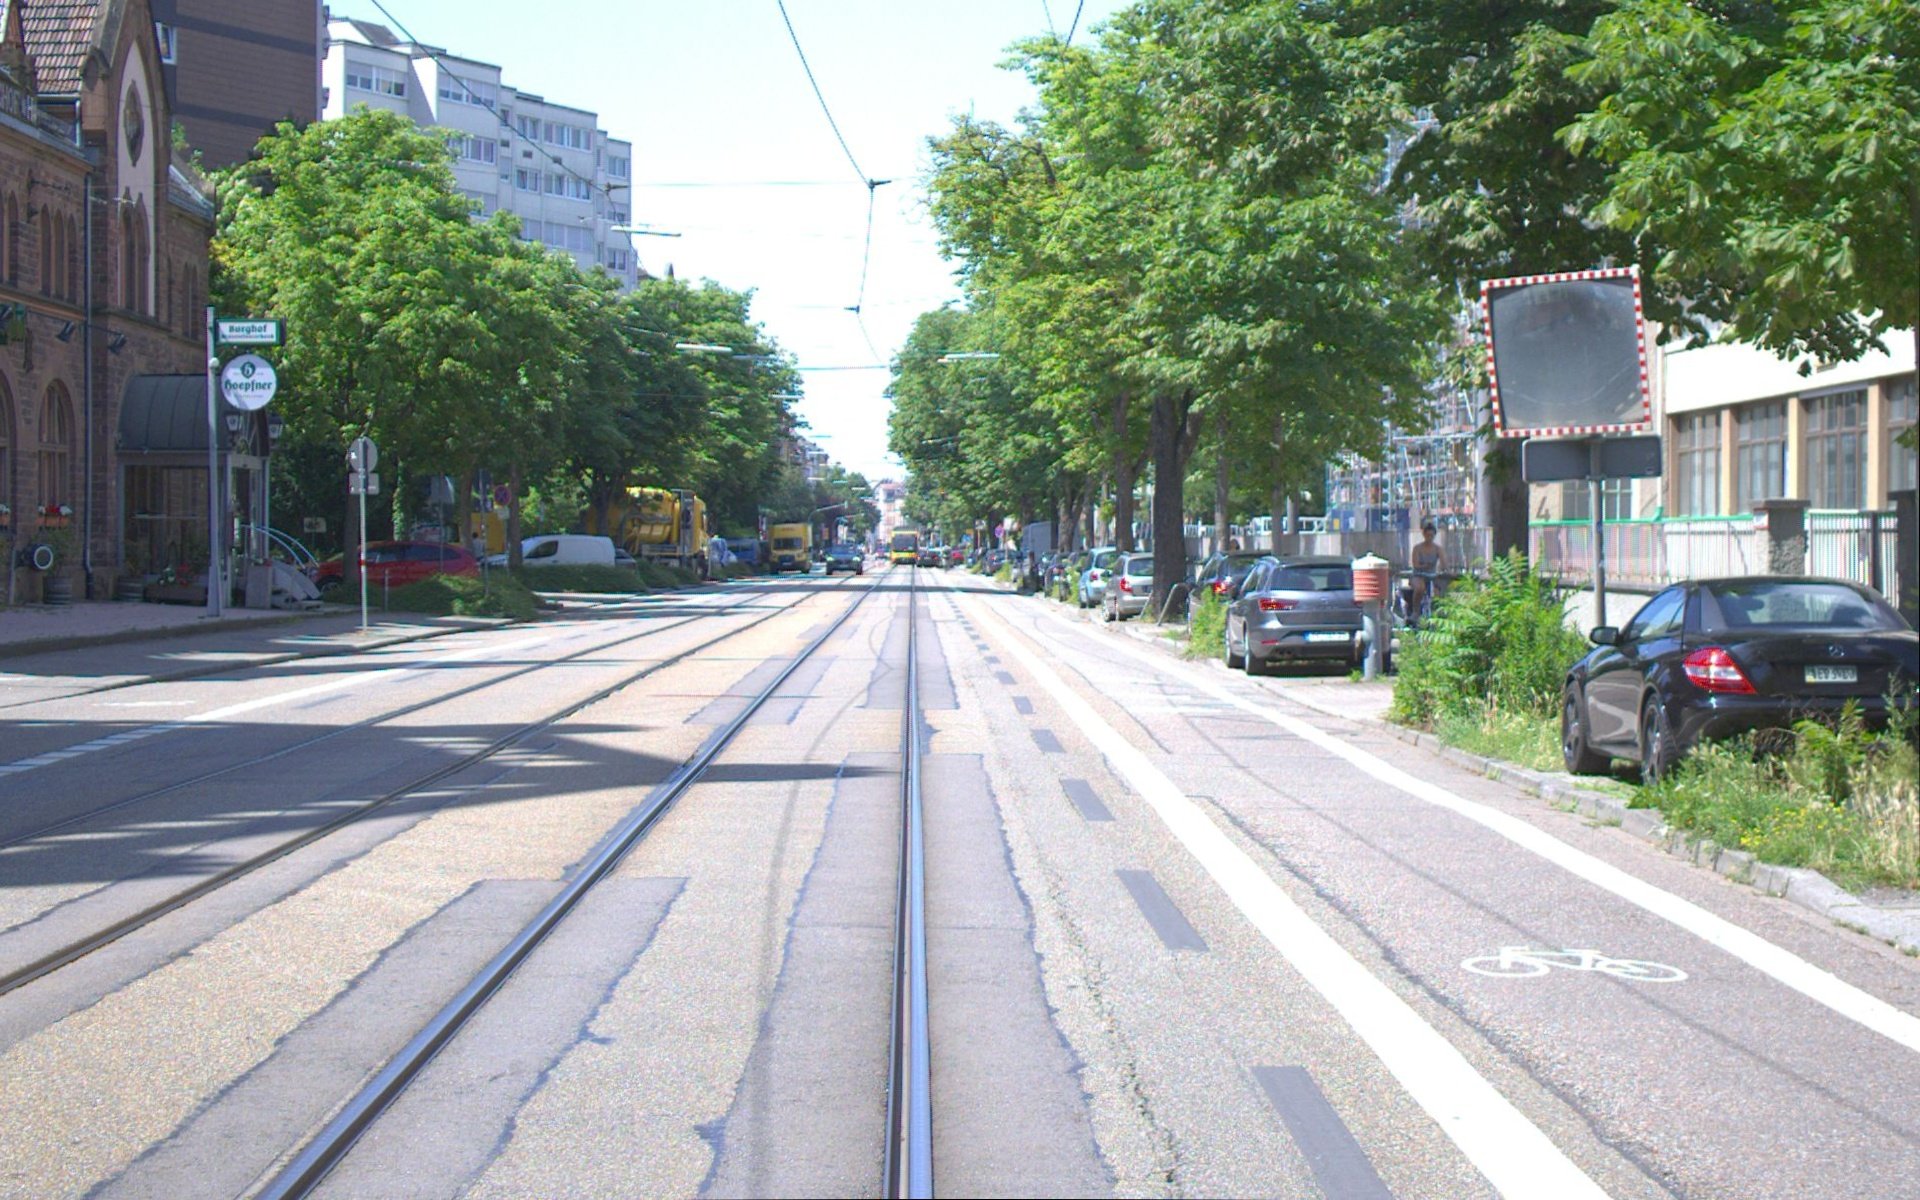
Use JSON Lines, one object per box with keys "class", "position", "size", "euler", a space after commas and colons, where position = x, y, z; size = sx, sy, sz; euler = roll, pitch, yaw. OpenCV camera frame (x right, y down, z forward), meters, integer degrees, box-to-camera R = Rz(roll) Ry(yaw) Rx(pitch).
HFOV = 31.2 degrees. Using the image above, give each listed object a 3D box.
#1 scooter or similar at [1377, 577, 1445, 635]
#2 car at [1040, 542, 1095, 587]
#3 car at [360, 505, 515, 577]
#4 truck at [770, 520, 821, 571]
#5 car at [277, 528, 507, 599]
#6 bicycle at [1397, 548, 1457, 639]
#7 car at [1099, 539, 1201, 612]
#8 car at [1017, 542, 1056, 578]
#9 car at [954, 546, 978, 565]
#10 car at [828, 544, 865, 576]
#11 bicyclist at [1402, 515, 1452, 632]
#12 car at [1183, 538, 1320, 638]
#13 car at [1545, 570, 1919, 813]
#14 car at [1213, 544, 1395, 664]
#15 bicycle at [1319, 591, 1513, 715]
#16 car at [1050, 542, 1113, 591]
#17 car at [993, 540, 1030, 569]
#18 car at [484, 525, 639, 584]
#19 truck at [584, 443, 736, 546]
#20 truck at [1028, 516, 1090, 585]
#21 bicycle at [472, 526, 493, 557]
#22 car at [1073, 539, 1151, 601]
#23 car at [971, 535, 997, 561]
{"class": "scooter or similar", "position": [6.649, 0.084, 50.757], "size": [0.761, 0.804, 1.556], "euler": [-2, 1, 0]}
{"class": "car", "position": [3.662, -1.224, 116.634], "size": [1.824, 1.466, 4.400], "euler": [0, 1, 2]}
{"class": "car", "position": [-20.063, -2.247, 132.298], "size": [2.182, 2.557, 6.713], "euler": [1, 0, 30]}
{"class": "truck", "position": [-9.401, -3.133, 196.667], "size": [2.360, 2.843, 7.378], "euler": [-1, 1, 1]}
{"class": "car", "position": [-12.919, -0.832, 78.271], "size": [4.764, 1.561, 2.002], "euler": [0, 1, -29]}
{"class": "bicycle", "position": [6.659, -0.105, 49.097], "size": [0.555, 1.261, 1.774], "euler": [-2, 1, 0]}
{"class": "car", "position": [4.015, -0.547, 73.184], "size": [1.671, 1.494, 4.366], "euler": [0, 1, -4]}
{"class": "car", "position": [3.257, -1.729, 147.123], "size": [1.644, 1.529, 3.785], "euler": [0, 1, 1]}
{"class": "car", "position": [0.477, -3.337, 259.375], "size": [1.710, 1.418, 4.310], "euler": [-1, 0, -1]}
{"class": "car", "position": [-5.967, -2.105, 181.156], "size": [1.831, 1.675, 4.185], "euler": [0, 1, 0]}
{"class": "bicyclist", "position": [6.664, -0.381, 49.028], "size": [0.580, 1.642, 0.599], "euler": [-2, 1, -1]}
{"class": "car", "position": [4.438, -0.211, 52.748], "size": [1.671, 1.484, 3.981], "euler": [0, 1, -1]}
{"class": "car", "position": [4.778, 0.493, 20.841], "size": [1.751, 1.266, 3.834], "euler": [1, 1, 0]}
{"class": "car", "position": [4.228, 0.011, 42.884], "size": [1.671, 1.403, 4.749], "euler": [0, 1, -1]}
{"class": "bicycle", "position": [3.936, 0.454, 29.737], "size": [1.585, 1.056, 0.562], "euler": [0, 1, -2]}
{"class": "car", "position": [3.710, -1.049, 105.825], "size": [1.824, 1.466, 4.486], "euler": [0, 1, 1]}
{"class": "car", "position": [2.692, -2.386, 180.846], "size": [1.639, 1.480, 3.873], "euler": [-1, 0, -4]}
{"class": "car", "position": [-12.852, -1.465, 110.940], "size": [4.534, 1.785, 1.901], "euler": [1, 1, -33]}
{"class": "truck", "position": [-12.120, -4.226, 140.179], "size": [2.717, 3.828, 10.957], "euler": [2, 0, 14]}
{"class": "truck", "position": [3.628, -1.844, 127.372], "size": [2.014, 2.480, 5.956], "euler": [0, 1, -1]}
{"class": "bicycle", "position": [-16.058, -1.970, 115.665], "size": [0.518, 1.043, 1.876], "euler": [1, 1, -3]}
{"class": "car", "position": [3.778, -0.762, 86.168], "size": [1.671, 1.512, 4.202], "euler": [0, 1, -1]}
{"class": "car", "position": [1.556, -3.331, 221.815], "size": [1.592, 1.611, 3.908], "euler": [-1, 0, -1]}
